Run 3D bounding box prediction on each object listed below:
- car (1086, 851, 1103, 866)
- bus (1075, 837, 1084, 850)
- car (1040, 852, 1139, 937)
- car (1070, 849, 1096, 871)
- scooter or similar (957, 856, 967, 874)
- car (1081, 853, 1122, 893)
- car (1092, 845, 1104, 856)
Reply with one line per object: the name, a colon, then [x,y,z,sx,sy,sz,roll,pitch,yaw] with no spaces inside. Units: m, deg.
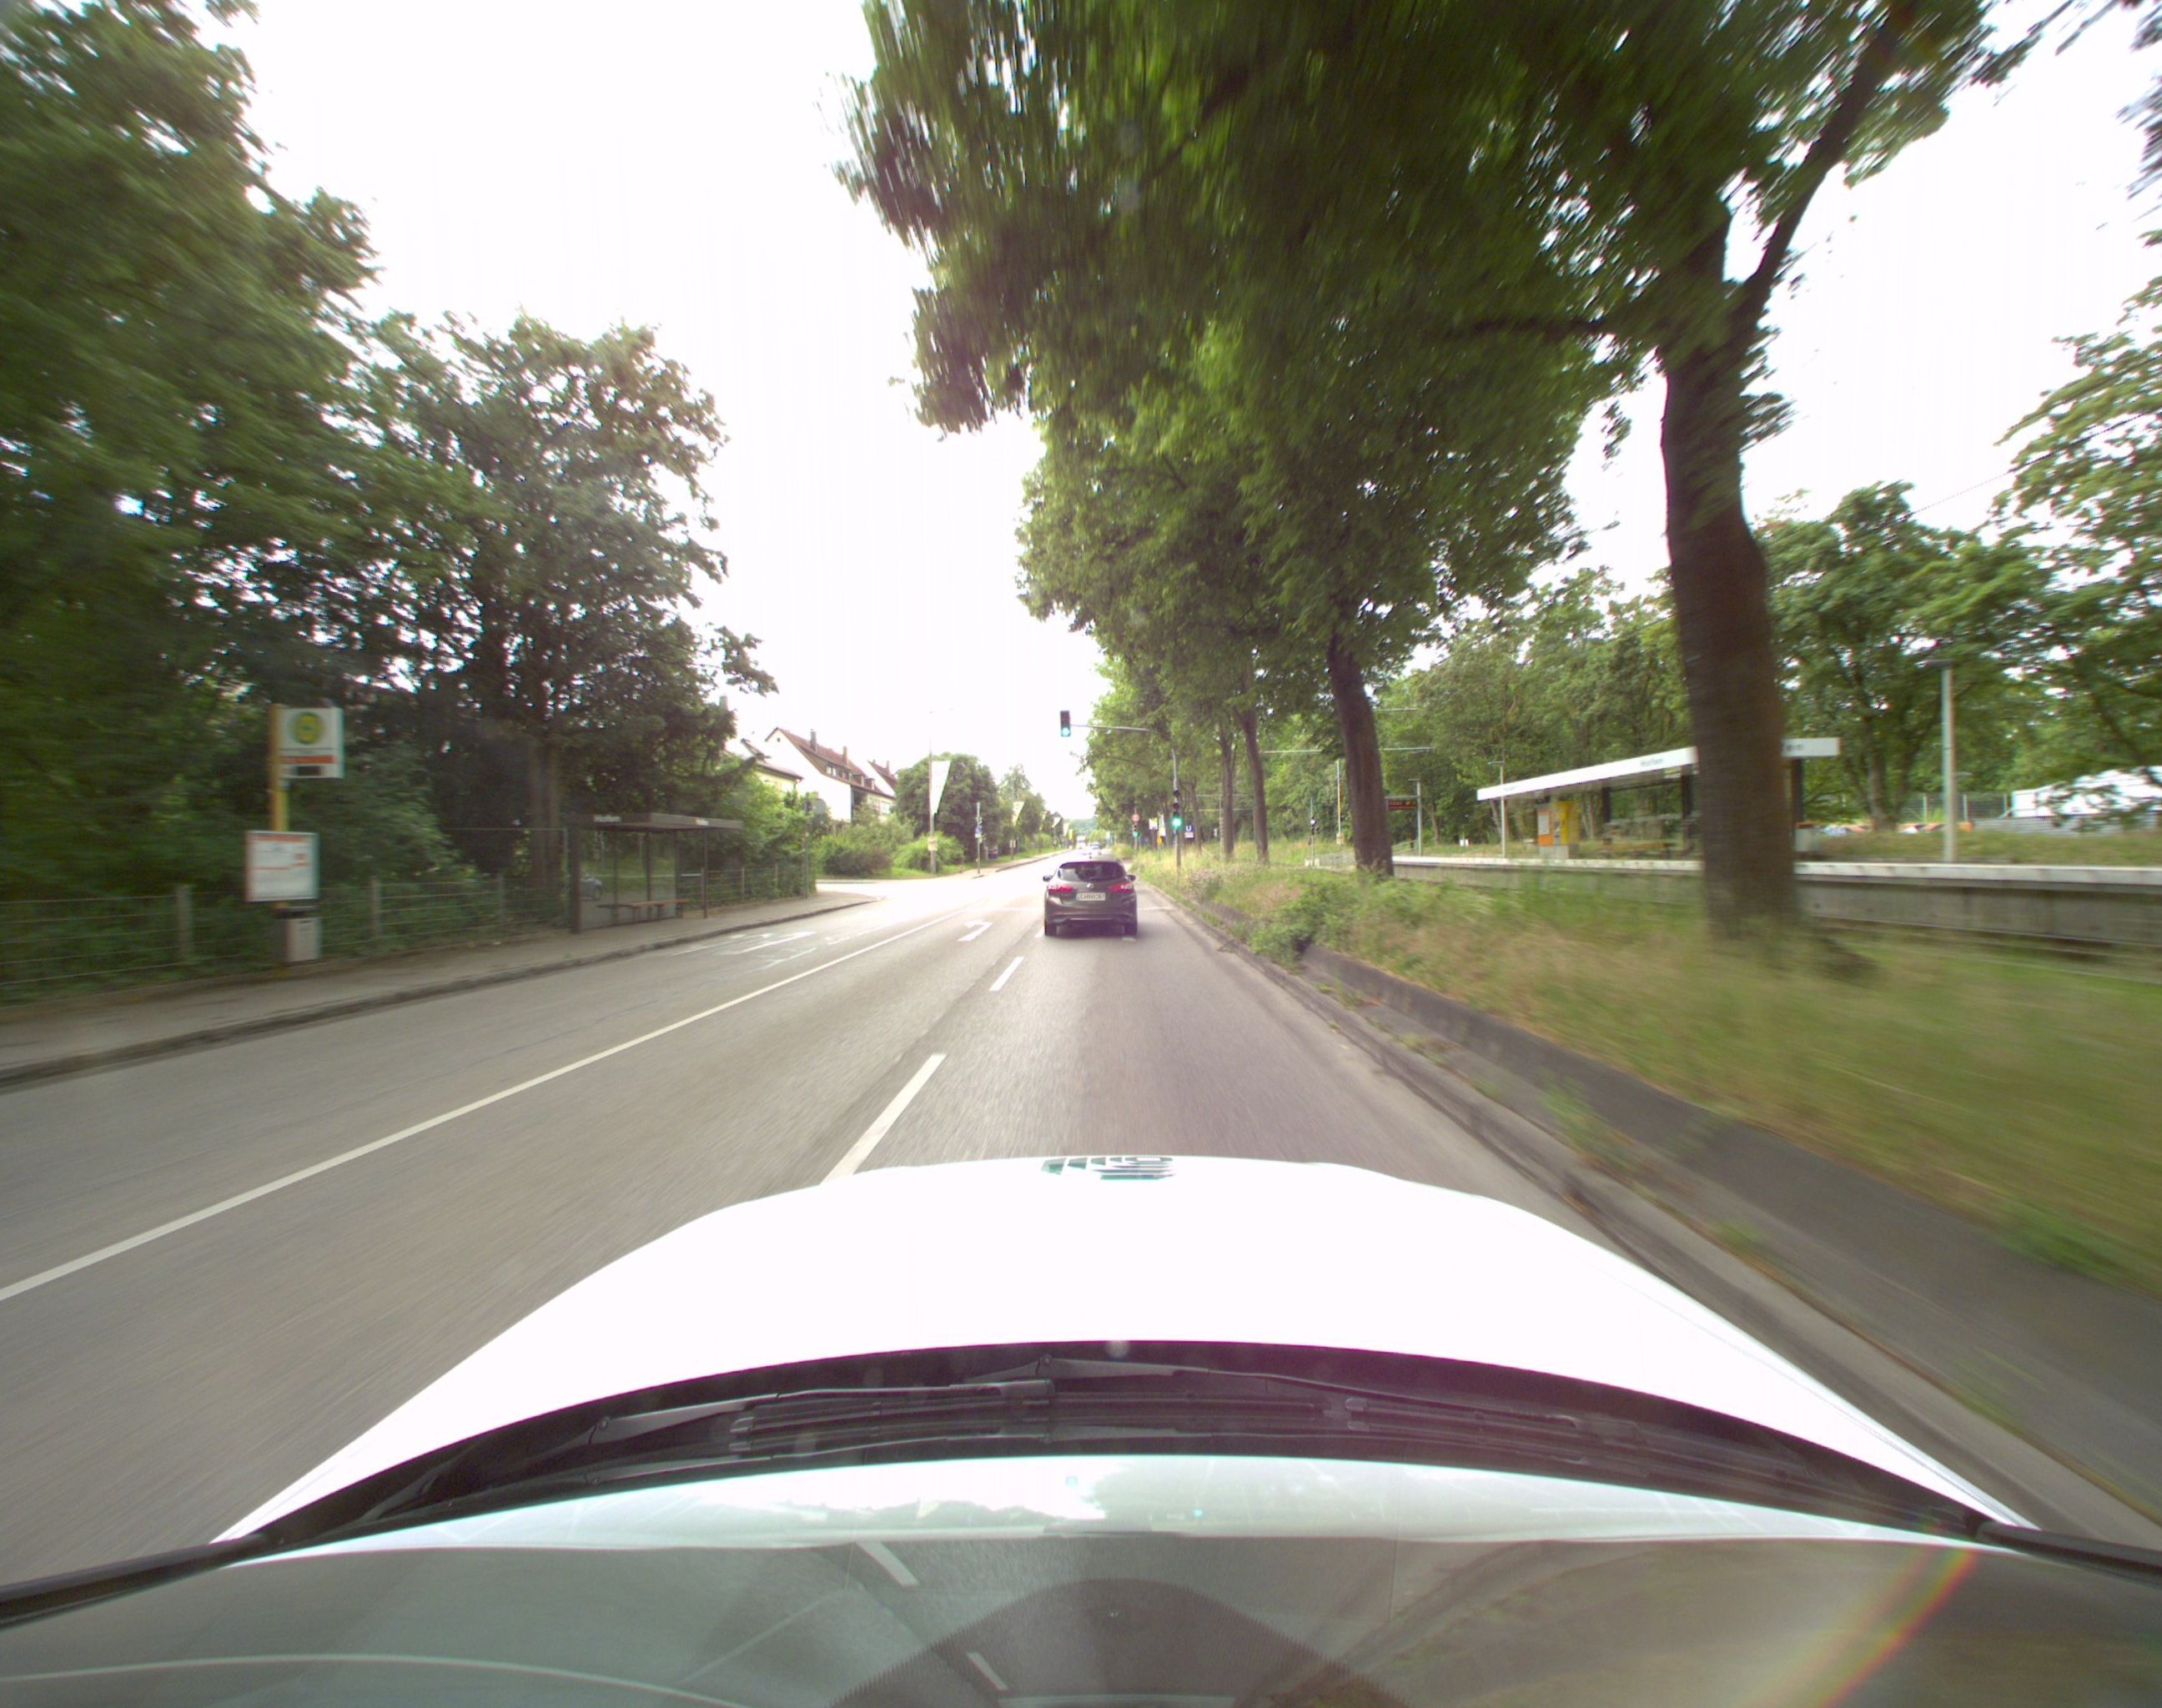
car: [1.391,0.460,84.003,1.685,1.441,3.542,-1,0,1]
bus: [-0.540,-3.346,262.894,2.478,4.025,10.220,-1,1,1]
car: [0.215,0.739,16.593,1.777,1.507,3.697,-1,0,2]
car: [0.196,0.372,55.664,1.685,1.441,3.542,-1,0,1]
scooter or similar: [-8.728,0.793,59.782,0.460,1.259,1.427,-1,0,3]
car: [0.797,0.705,31.817,1.496,1.441,3.542,-1,0,1]
car: [2.492,-0.497,117.229,1.685,1.441,3.542,-1,0,1]
